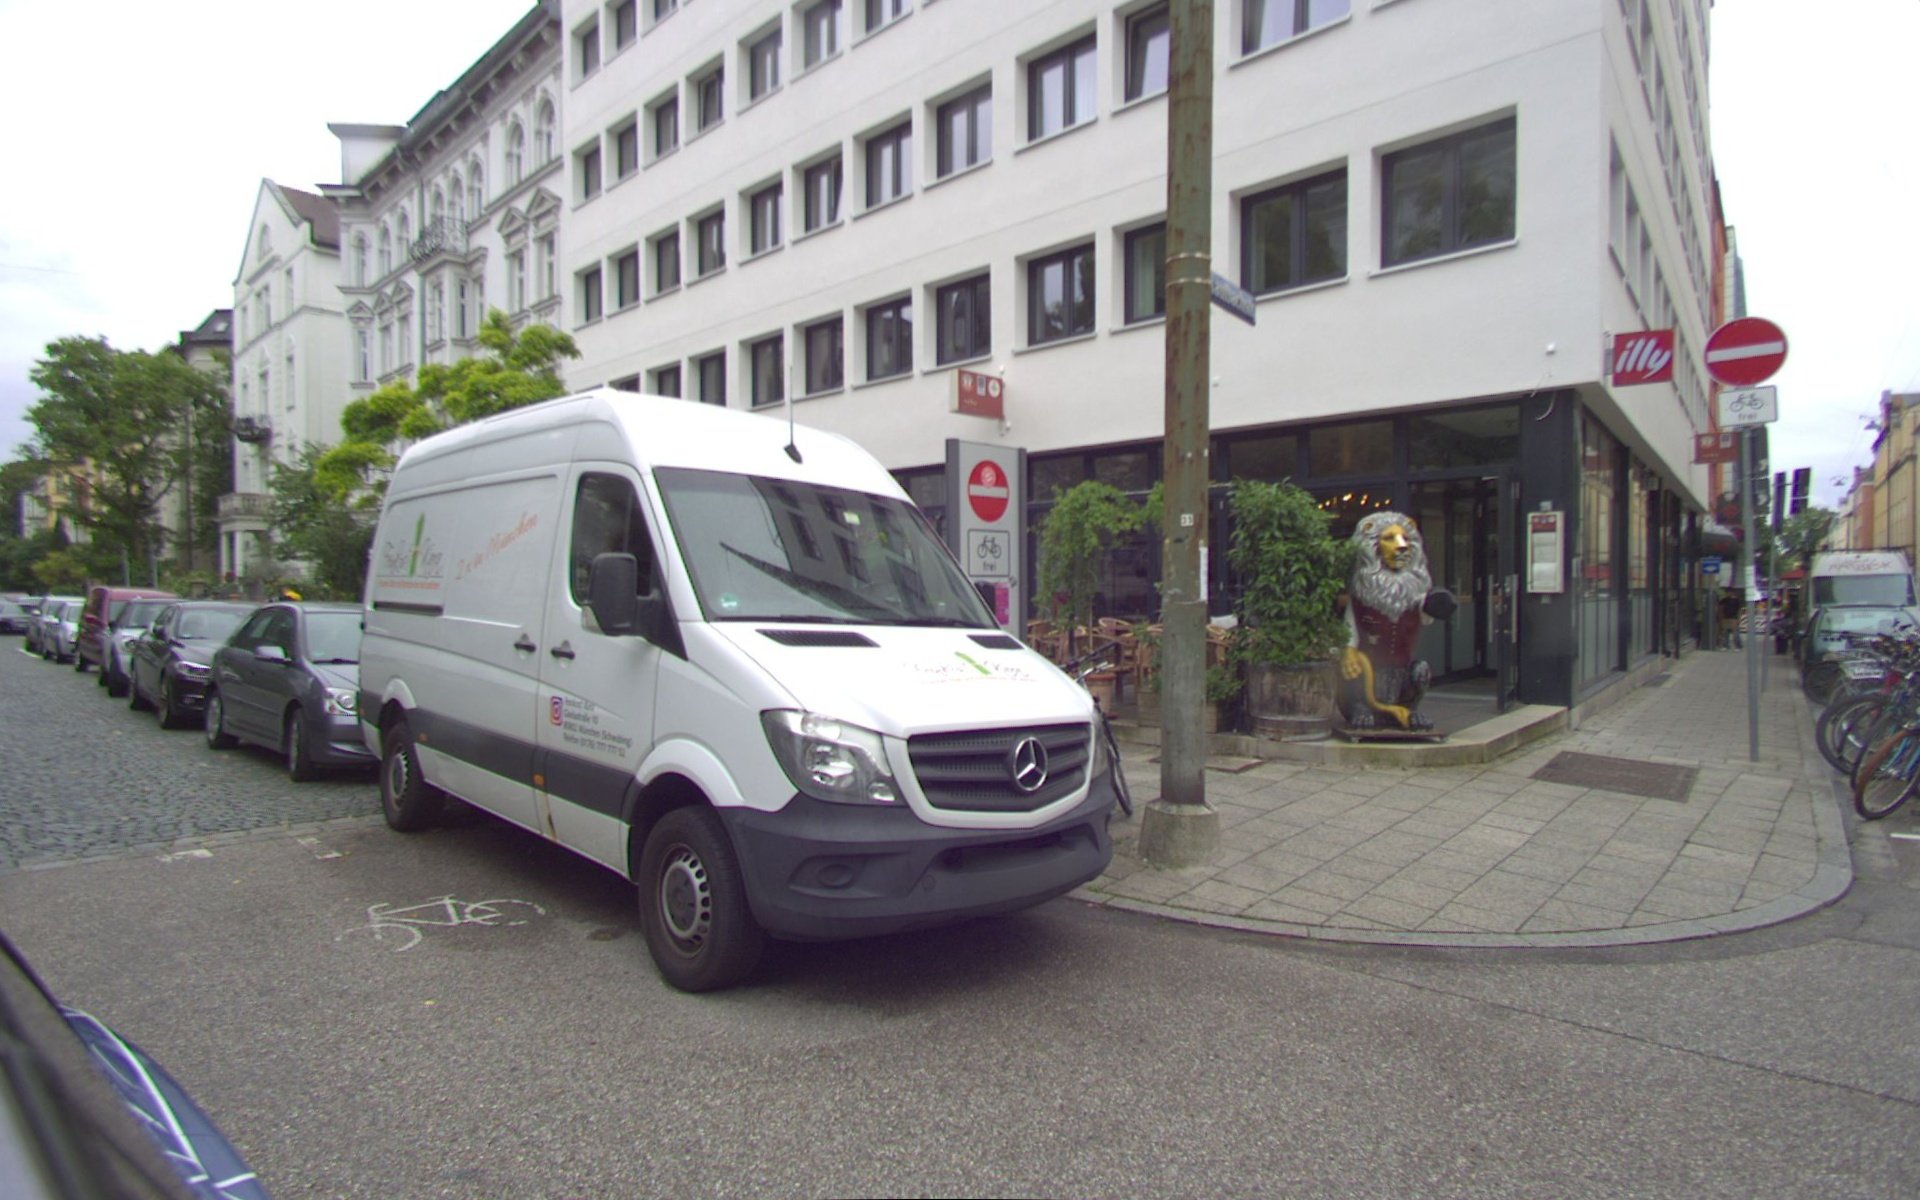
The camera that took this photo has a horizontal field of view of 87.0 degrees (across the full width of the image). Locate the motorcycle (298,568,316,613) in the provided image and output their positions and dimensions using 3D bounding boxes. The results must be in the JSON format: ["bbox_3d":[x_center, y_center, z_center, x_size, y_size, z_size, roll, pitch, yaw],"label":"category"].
[{"bbox_3d":[-17.479,-0.260,27.111,0.326,1.188,1.630,-1,1,-31],"label":"motorcycle"}]

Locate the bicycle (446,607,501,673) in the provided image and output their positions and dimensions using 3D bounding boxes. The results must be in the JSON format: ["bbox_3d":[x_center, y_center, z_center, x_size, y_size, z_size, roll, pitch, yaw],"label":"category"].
[{"bbox_3d":[-9.350,0.741,19.427,0.356,1.183,1.912,-1,1,-44],"label":"bicycle"}]

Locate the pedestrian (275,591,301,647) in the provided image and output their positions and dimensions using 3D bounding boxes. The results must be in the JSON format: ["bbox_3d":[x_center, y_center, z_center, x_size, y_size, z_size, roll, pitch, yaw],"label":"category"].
[{"bbox_3d":[-20.239,0.572,30.486,0.569,1.659,0.823,1,-1,-39],"label":"pedestrian"}]

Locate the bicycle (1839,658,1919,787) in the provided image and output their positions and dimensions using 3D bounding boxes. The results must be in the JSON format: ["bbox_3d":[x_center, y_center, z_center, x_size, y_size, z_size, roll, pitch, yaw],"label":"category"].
[{"bbox_3d":[8.052,0.982,7.805,1.892,0.975,0.393,0,1,38],"label":"bicycle"}]

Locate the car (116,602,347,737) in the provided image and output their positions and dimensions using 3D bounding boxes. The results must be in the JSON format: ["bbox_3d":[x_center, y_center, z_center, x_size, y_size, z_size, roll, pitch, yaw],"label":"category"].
[{"bbox_3d":[-9.662,0.788,13.269,4.475,1.476,1.706,0,-2,45],"label":"car"}]

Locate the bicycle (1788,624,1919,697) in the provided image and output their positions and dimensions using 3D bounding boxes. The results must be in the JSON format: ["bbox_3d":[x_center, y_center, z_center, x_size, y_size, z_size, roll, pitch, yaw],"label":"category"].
[{"bbox_3d":[13.095,0.861,14.498,1.892,0.975,0.393,0,1,38],"label":"bicycle"}]

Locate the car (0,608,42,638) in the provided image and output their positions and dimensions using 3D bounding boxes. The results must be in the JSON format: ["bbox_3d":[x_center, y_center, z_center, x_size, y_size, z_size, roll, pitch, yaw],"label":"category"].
[{"bbox_3d":[-45.114,1.067,48.127,4.002,1.342,1.971,0,1,45],"label":"car"}]

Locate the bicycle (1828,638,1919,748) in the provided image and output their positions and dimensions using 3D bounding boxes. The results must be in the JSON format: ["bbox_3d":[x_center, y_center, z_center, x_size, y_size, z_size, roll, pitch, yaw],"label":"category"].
[{"bbox_3d":[9.240,0.876,9.304,1.892,0.975,0.393,0,1,38],"label":"bicycle"}]

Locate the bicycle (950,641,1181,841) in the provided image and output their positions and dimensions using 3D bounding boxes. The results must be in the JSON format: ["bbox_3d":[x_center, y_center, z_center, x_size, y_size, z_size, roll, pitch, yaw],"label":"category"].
[{"bbox_3d":[0.650,0.875,6.760,1.731,1.135,0.252,0,1,43],"label":"bicycle"}]

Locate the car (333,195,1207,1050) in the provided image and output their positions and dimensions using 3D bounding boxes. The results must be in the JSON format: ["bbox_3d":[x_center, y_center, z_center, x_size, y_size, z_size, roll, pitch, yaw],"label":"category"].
[{"bbox_3d":[-1.660,0.070,5.816,5.797,2.593,1.954,0,-1,45],"label":"car"}]

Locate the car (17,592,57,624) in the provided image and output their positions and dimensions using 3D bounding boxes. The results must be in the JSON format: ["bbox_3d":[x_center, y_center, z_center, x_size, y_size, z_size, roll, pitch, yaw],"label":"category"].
[{"bbox_3d":[-61.014,0.521,66.869,4.002,2.029,1.738,0,1,45],"label":"car"}]

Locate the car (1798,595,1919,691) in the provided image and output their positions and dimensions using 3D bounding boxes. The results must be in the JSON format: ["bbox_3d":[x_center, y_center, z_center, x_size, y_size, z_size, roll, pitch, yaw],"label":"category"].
[{"bbox_3d":[14.798,0.631,16.647,1.488,1.418,3.643,0,0,39],"label":"car"}]

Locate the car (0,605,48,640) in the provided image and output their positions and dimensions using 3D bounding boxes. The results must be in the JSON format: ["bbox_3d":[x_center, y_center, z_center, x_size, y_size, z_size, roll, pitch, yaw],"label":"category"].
[{"bbox_3d":[-41.648,0.940,44.552,4.809,1.430,1.860,0,0,43],"label":"car"}]

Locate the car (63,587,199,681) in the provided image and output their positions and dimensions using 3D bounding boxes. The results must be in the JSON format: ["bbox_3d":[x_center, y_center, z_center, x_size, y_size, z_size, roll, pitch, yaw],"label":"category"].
[{"bbox_3d":[-17.048,0.633,20.750,3.900,1.736,1.698,0,-1,44],"label":"car"}]

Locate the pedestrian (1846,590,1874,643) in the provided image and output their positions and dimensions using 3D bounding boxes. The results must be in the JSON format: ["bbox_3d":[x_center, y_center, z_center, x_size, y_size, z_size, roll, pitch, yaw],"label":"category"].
[{"bbox_3d":[35.131,0.643,39.521,0.717,2.029,0.876,0,1,35],"label":"pedestrian"}]

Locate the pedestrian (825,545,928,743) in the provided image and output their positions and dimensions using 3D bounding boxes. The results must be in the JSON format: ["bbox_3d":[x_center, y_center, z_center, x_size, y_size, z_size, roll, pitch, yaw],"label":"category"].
[{"bbox_3d":[-0.822,0.409,9.984,0.812,1.854,0.608,0,0,37],"label":"pedestrian"}]

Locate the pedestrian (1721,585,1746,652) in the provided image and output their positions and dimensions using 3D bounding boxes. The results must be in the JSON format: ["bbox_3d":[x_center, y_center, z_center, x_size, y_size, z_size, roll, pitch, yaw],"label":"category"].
[{"bbox_3d":[20.638,0.479,26.994,0.521,1.752,0.487,0,0,39],"label":"pedestrian"}]

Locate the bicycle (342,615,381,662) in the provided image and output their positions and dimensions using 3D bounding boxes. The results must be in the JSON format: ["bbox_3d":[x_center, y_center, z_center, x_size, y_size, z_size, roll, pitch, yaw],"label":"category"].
[{"bbox_3d":[-14.527,0.927,24.563,1.684,1.086,0.255,-1,0,40],"label":"bicycle"}]

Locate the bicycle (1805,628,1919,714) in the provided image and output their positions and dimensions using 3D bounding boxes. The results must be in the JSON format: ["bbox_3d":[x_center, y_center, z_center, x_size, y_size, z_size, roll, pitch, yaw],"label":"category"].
[{"bbox_3d":[11.445,0.858,12.218,1.892,0.975,0.393,0,1,38],"label":"bicycle"}]

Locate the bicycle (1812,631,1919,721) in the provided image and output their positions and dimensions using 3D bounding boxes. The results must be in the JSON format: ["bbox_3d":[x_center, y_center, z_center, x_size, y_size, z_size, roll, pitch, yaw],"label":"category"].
[{"bbox_3d":[10.942,0.867,11.514,1.892,0.975,0.393,0,1,38],"label":"bicycle"}]

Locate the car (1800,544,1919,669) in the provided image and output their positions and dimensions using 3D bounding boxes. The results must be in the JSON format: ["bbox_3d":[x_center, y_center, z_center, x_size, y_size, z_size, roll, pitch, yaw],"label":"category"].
[{"bbox_3d":[19.968,0.081,22.371,1.962,2.406,6.401,0,1,38],"label":"car"}]

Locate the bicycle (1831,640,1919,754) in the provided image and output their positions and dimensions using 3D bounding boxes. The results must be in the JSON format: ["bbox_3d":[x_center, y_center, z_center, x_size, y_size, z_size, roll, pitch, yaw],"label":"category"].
[{"bbox_3d":[8.934,0.879,8.907,1.892,0.975,0.393,0,1,38],"label":"bicycle"}]

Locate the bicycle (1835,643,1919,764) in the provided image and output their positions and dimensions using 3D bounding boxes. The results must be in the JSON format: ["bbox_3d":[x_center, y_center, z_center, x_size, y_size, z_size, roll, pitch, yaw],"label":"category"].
[{"bbox_3d":[8.482,0.883,8.350,1.892,0.975,0.393,0,1,38],"label":"bicycle"}]

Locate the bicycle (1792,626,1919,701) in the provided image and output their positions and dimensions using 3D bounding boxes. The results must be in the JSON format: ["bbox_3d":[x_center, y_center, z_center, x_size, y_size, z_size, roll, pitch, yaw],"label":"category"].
[{"bbox_3d":[12.711,0.867,13.957,1.892,0.975,0.393,0,1,38],"label":"bicycle"}]

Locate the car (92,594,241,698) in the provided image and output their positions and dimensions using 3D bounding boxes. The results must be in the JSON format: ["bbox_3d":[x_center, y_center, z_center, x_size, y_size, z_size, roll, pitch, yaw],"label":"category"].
[{"bbox_3d":[-13.239,0.663,16.811,1.673,1.515,3.781,-1,1,-42],"label":"car"}]

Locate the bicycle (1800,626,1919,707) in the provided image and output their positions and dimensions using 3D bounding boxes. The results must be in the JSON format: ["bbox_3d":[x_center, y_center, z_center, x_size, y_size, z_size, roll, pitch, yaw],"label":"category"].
[{"bbox_3d":[11.946,0.850,12.898,1.892,0.975,0.393,0,1,38],"label":"bicycle"}]

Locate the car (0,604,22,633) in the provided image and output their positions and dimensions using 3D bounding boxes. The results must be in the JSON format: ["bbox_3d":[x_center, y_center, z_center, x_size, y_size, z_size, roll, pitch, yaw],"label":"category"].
[{"bbox_3d":[-50.773,0.980,53.386,4.002,1.435,1.690,0,1,45],"label":"car"}]

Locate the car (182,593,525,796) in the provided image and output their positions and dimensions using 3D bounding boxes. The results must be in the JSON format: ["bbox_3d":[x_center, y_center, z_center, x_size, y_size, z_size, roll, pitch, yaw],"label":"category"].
[{"bbox_3d":[-5.799,0.689,9.476,3.981,1.493,1.644,0,1,42],"label":"car"}]

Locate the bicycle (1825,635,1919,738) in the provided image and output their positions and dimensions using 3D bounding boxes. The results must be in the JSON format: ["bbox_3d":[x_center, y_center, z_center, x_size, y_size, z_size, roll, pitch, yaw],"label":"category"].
[{"bbox_3d":[9.717,0.863,9.897,1.892,0.975,0.393,0,1,38],"label":"bicycle"}]

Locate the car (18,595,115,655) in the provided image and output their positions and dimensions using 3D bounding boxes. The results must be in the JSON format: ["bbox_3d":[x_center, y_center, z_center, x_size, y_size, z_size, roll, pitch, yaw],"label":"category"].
[{"bbox_3d":[-25.946,0.673,29.335,4.068,1.584,1.671,0,1,42],"label":"car"}]

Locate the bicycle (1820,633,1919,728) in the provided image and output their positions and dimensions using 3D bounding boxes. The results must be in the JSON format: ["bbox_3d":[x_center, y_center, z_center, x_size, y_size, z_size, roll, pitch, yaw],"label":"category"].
[{"bbox_3d":[10.375,0.863,10.733,1.892,0.975,0.393,0,1,38],"label":"bicycle"}]

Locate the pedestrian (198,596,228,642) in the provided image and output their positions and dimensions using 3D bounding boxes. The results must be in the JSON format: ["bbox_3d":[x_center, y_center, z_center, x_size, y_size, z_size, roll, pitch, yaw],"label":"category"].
[{"bbox_3d":[-26.833,0.682,36.350,0.656,1.640,0.671,-1,1,-14],"label":"pedestrian"}]

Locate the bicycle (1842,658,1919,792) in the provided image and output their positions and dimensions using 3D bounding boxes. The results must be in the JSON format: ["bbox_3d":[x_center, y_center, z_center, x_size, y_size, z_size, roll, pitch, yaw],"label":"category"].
[{"bbox_3d":[7.775,0.964,7.464,1.892,0.975,0.393,0,1,38],"label":"bicycle"}]

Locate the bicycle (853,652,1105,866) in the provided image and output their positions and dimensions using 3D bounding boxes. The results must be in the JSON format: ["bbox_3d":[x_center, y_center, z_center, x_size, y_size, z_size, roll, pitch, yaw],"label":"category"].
[{"bbox_3d":[0.054,0.902,6.228,1.815,1.099,0.282,0,0,43],"label":"bicycle"}]

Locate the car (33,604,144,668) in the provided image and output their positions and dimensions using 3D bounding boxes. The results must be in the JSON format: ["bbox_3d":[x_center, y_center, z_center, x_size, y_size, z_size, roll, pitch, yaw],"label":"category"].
[{"bbox_3d":[-21.516,0.826,24.938,3.816,1.404,1.614,0,1,42],"label":"car"}]

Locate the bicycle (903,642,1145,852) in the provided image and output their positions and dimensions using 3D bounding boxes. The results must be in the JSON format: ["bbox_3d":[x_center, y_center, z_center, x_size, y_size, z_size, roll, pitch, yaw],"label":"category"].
[{"bbox_3d":[0.352,0.872,6.520,1.807,1.135,0.252,0,1,43],"label":"bicycle"}]
